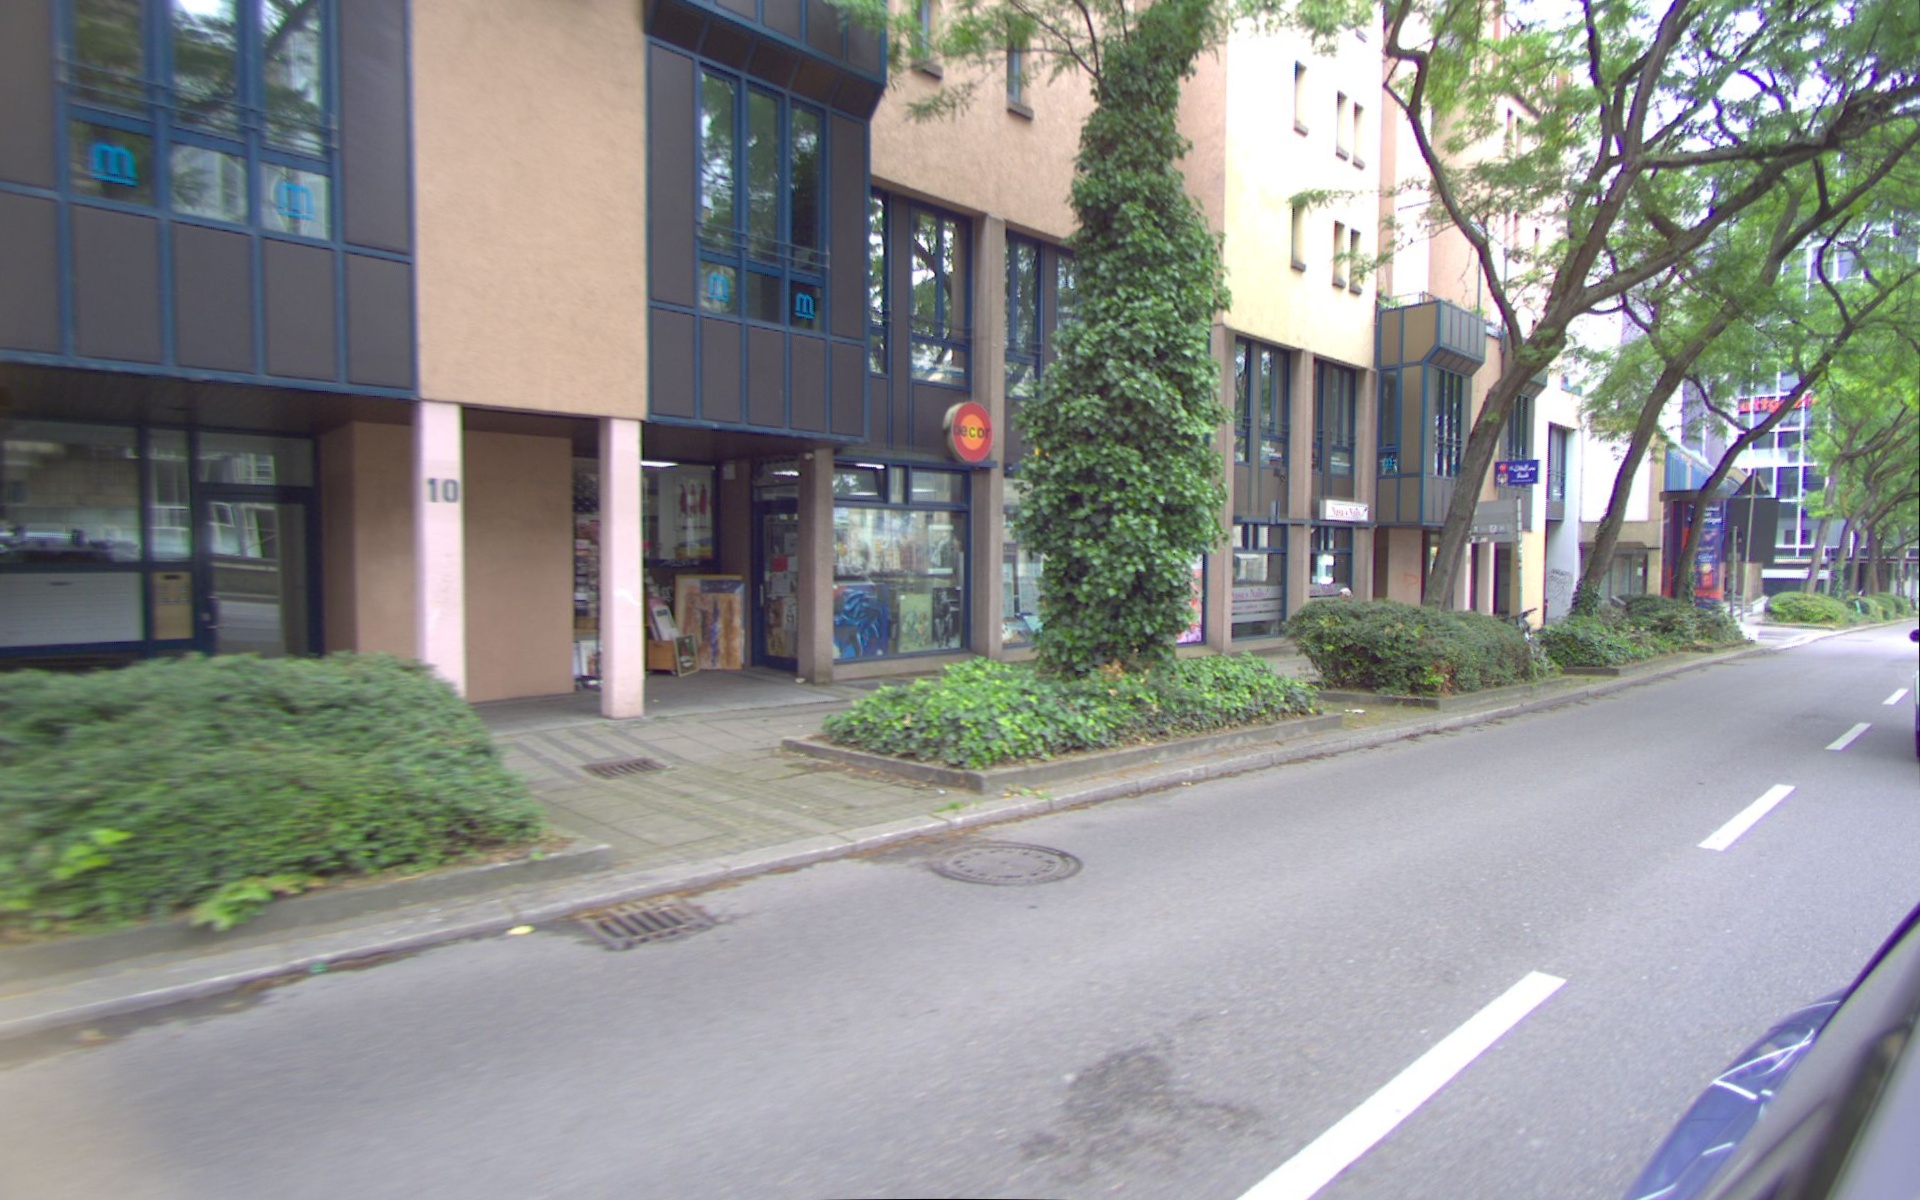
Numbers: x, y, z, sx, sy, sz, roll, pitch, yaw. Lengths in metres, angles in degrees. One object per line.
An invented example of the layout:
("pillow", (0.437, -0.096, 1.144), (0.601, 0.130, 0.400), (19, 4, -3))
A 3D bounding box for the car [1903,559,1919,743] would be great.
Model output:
("car", (10.544, 0.438, 9.596), (3.860, 1.628, 2.057), (-1, 1, -43))

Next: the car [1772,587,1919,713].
("car", (13.178, 0.600, 14.199), (3.927, 1.549, 1.949), (-1, 1, -38))

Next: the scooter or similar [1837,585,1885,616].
("scooter or similar", (42.694, 0.023, 47.965), (1.513, 1.452, 0.684), (0, 1, 18))

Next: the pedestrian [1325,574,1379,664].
("pedestrian", (7.790, 0.366, 20.135), (0.674, 1.732, 0.712), (1, 1, -36))

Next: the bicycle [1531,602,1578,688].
("bicycle", (9.080, 0.655, 15.441), (0.361, 1.216, 1.548), (2, 2, 39))
